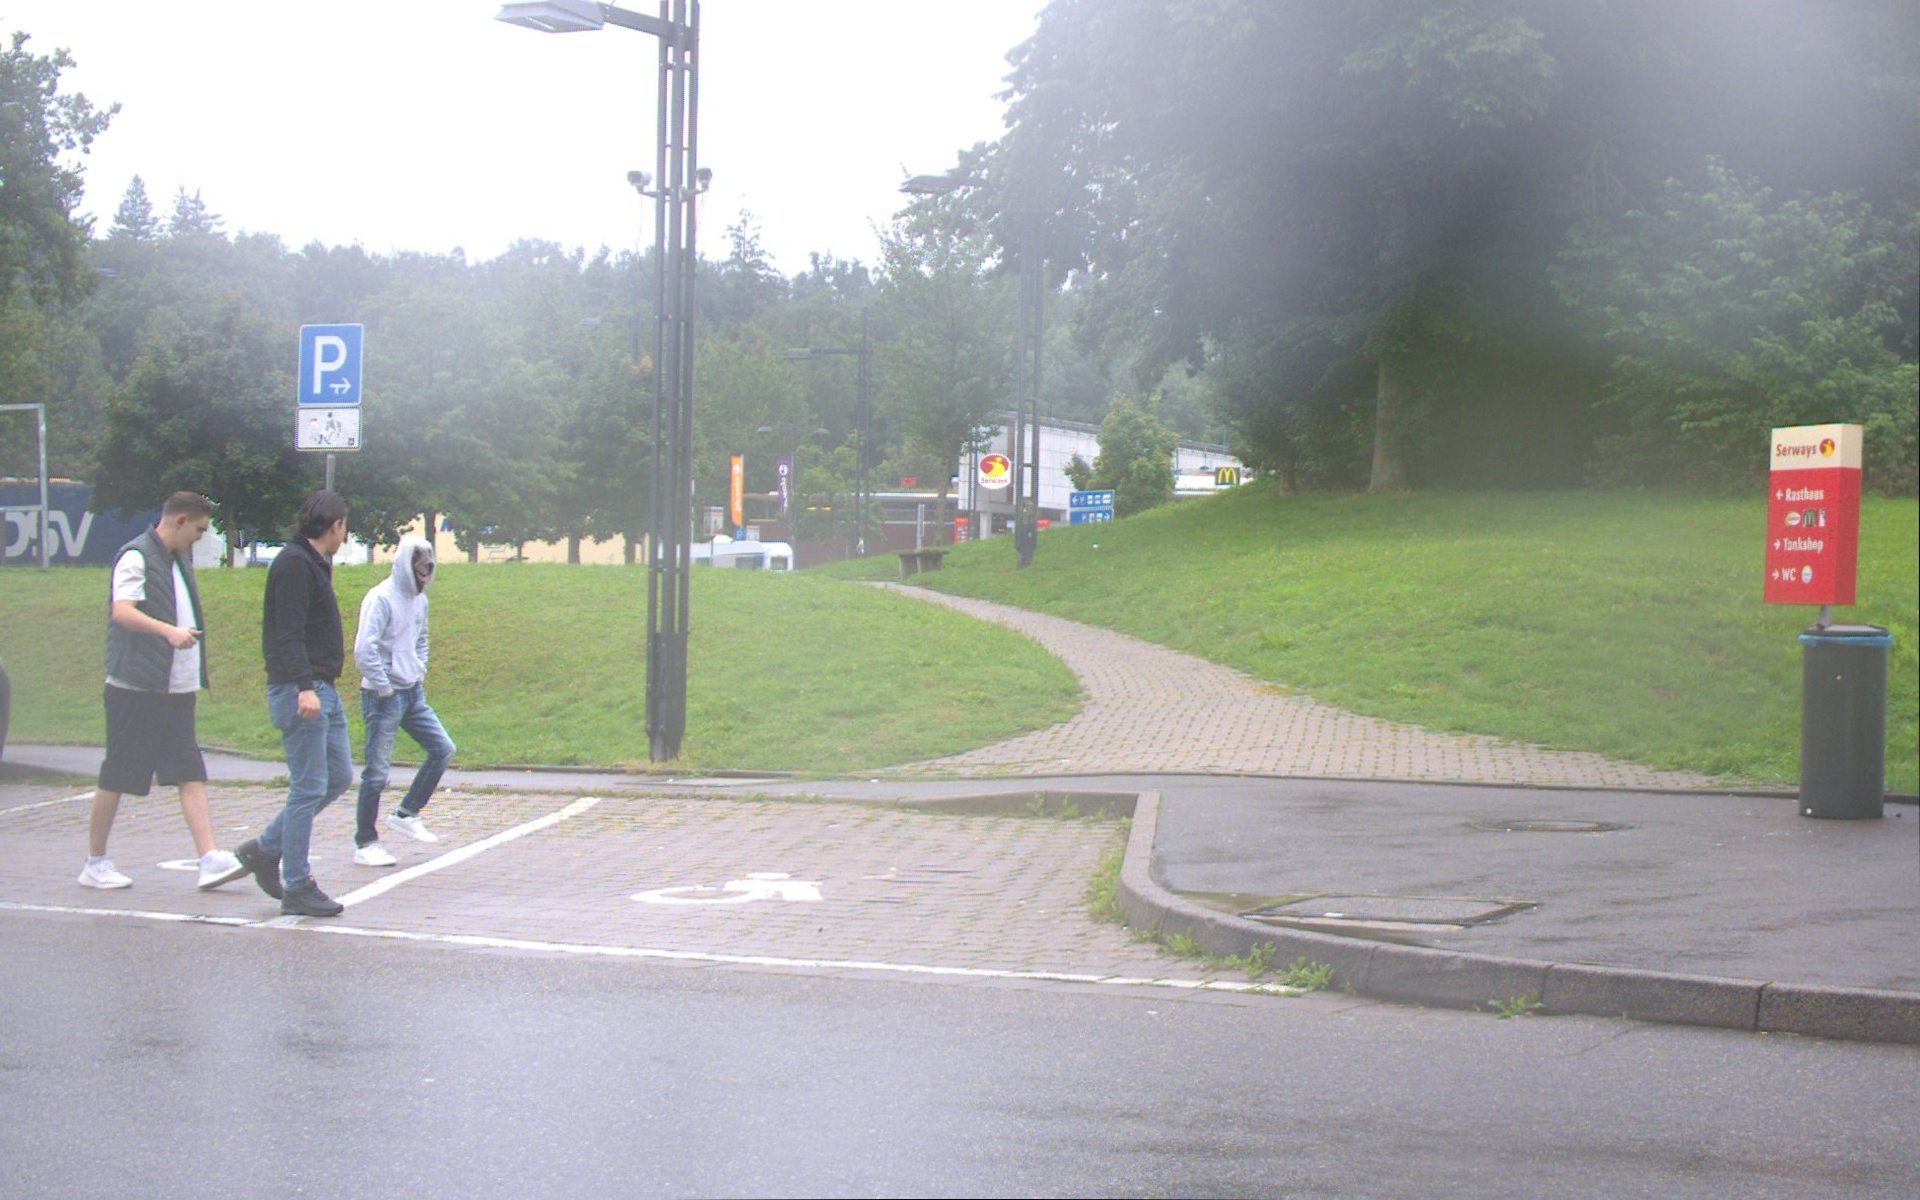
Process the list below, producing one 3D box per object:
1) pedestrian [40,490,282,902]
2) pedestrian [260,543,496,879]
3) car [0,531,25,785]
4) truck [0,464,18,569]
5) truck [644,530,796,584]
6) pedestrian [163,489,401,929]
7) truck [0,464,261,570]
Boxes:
[{"bbox_3d":[-3.735,0.438,16.129,0.951,1.880,0.704,1,0,0],"label":"pedestrian"},{"bbox_3d":[-2.905,0.538,17.211,0.951,1.626,0.703,1,0,13],"label":"pedestrian"},{"bbox_3d":[-7.807,0.452,21.486,2.018,1.705,4.341,-1,1,12],"label":"car"},{"bbox_3d":[-28.612,-2.346,94.652,2.189,2.910,5.380,1,1,24],"label":"truck"},{"bbox_3d":[-9.338,-1.669,133.801,5.413,2.007,2.364,1,1,25],"label":"truck"},{"bbox_3d":[-2.974,0.466,15.140,0.890,1.880,0.704,1,0,0],"label":"pedestrian"},{"bbox_3d":[-25.474,-2.372,101.622,2.188,2.910,13.082,1,1,24],"label":"truck"}]
